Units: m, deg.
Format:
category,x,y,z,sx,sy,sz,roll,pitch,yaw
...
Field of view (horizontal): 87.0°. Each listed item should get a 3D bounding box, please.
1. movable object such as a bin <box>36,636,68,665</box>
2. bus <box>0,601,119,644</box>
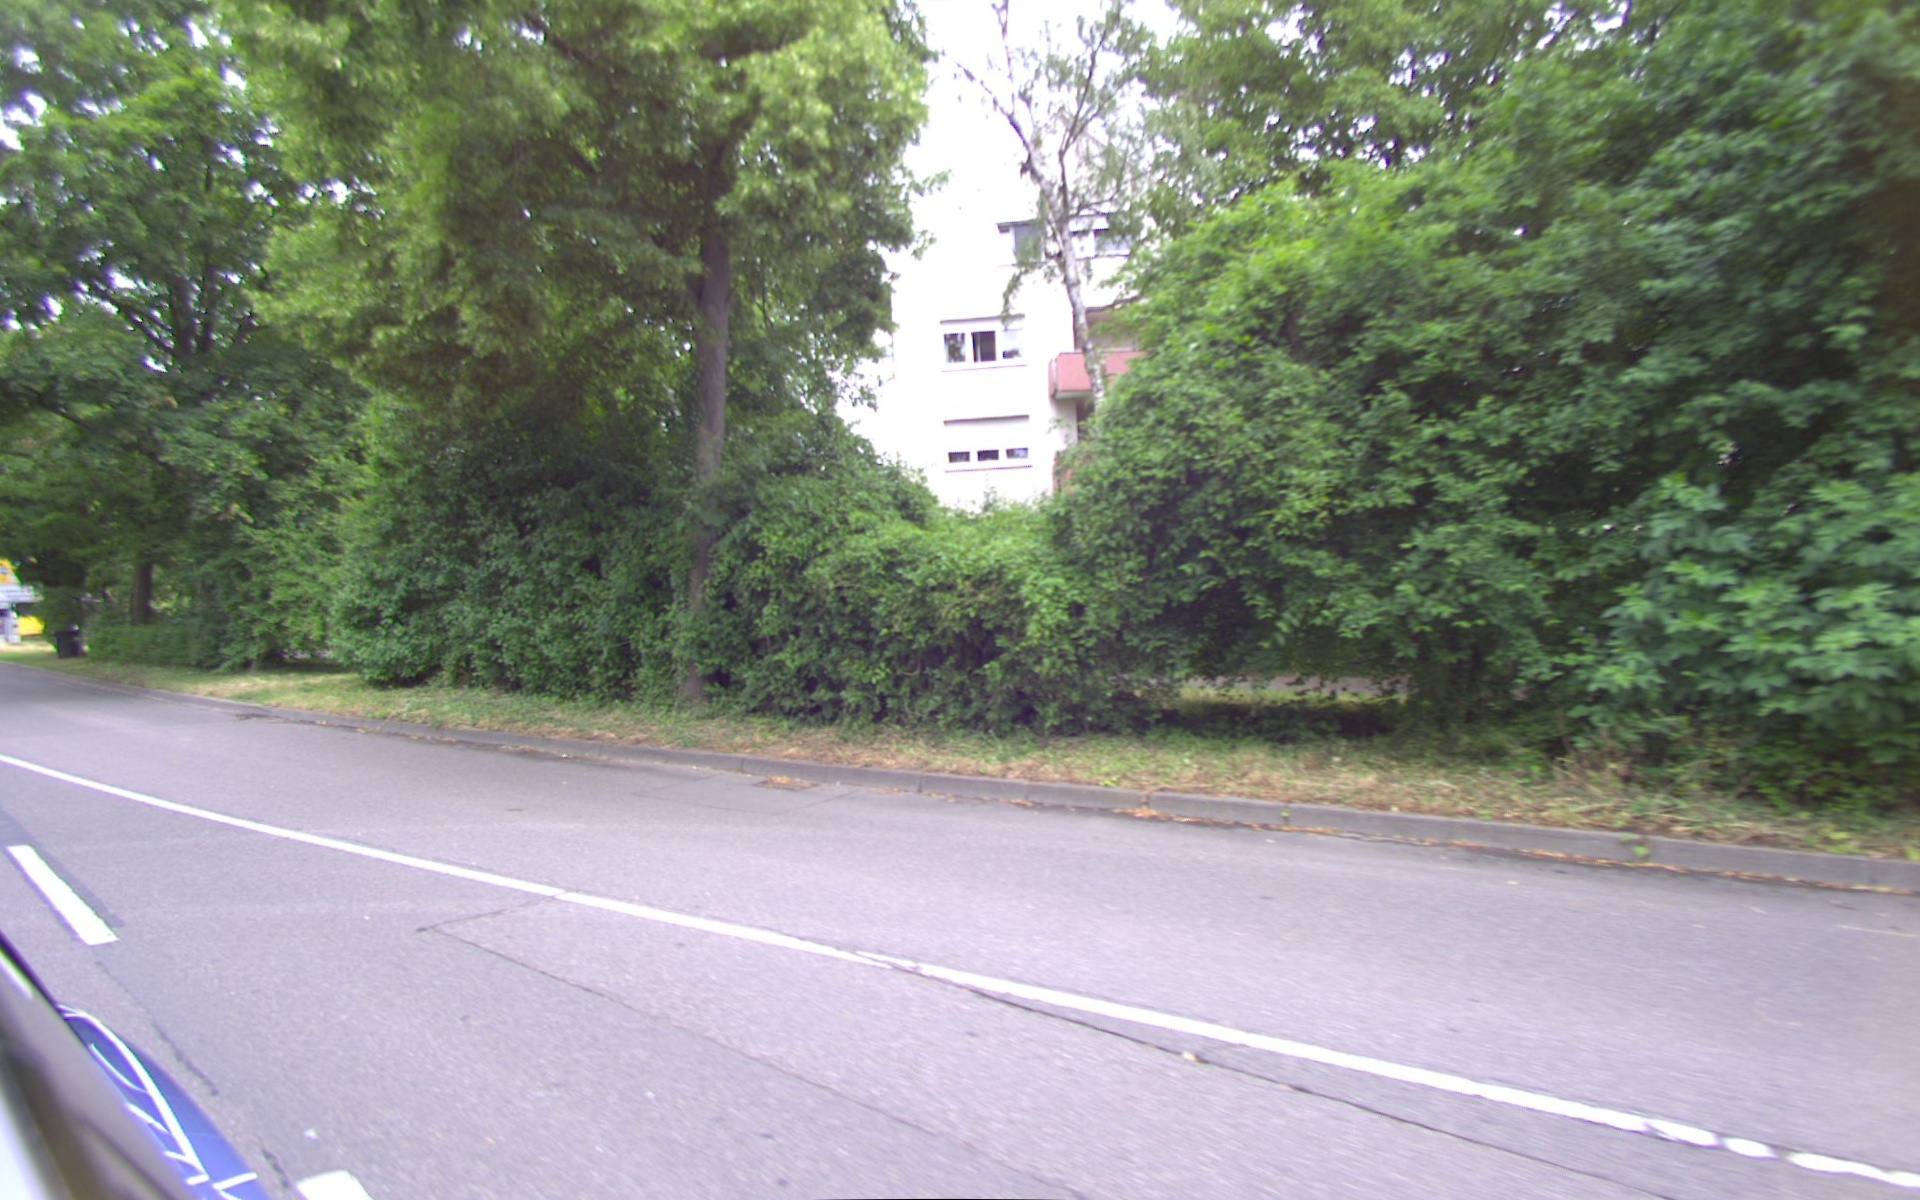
category,x,y,z,sx,sy,sz,roll,pitch,yaw
movable object such as a bin,-29.055,1.597,32.399,0.590,0.851,0.580,-4,1,-28
bus,-73.402,1.769,82.459,3.008,3.031,8.440,-4,1,-5
